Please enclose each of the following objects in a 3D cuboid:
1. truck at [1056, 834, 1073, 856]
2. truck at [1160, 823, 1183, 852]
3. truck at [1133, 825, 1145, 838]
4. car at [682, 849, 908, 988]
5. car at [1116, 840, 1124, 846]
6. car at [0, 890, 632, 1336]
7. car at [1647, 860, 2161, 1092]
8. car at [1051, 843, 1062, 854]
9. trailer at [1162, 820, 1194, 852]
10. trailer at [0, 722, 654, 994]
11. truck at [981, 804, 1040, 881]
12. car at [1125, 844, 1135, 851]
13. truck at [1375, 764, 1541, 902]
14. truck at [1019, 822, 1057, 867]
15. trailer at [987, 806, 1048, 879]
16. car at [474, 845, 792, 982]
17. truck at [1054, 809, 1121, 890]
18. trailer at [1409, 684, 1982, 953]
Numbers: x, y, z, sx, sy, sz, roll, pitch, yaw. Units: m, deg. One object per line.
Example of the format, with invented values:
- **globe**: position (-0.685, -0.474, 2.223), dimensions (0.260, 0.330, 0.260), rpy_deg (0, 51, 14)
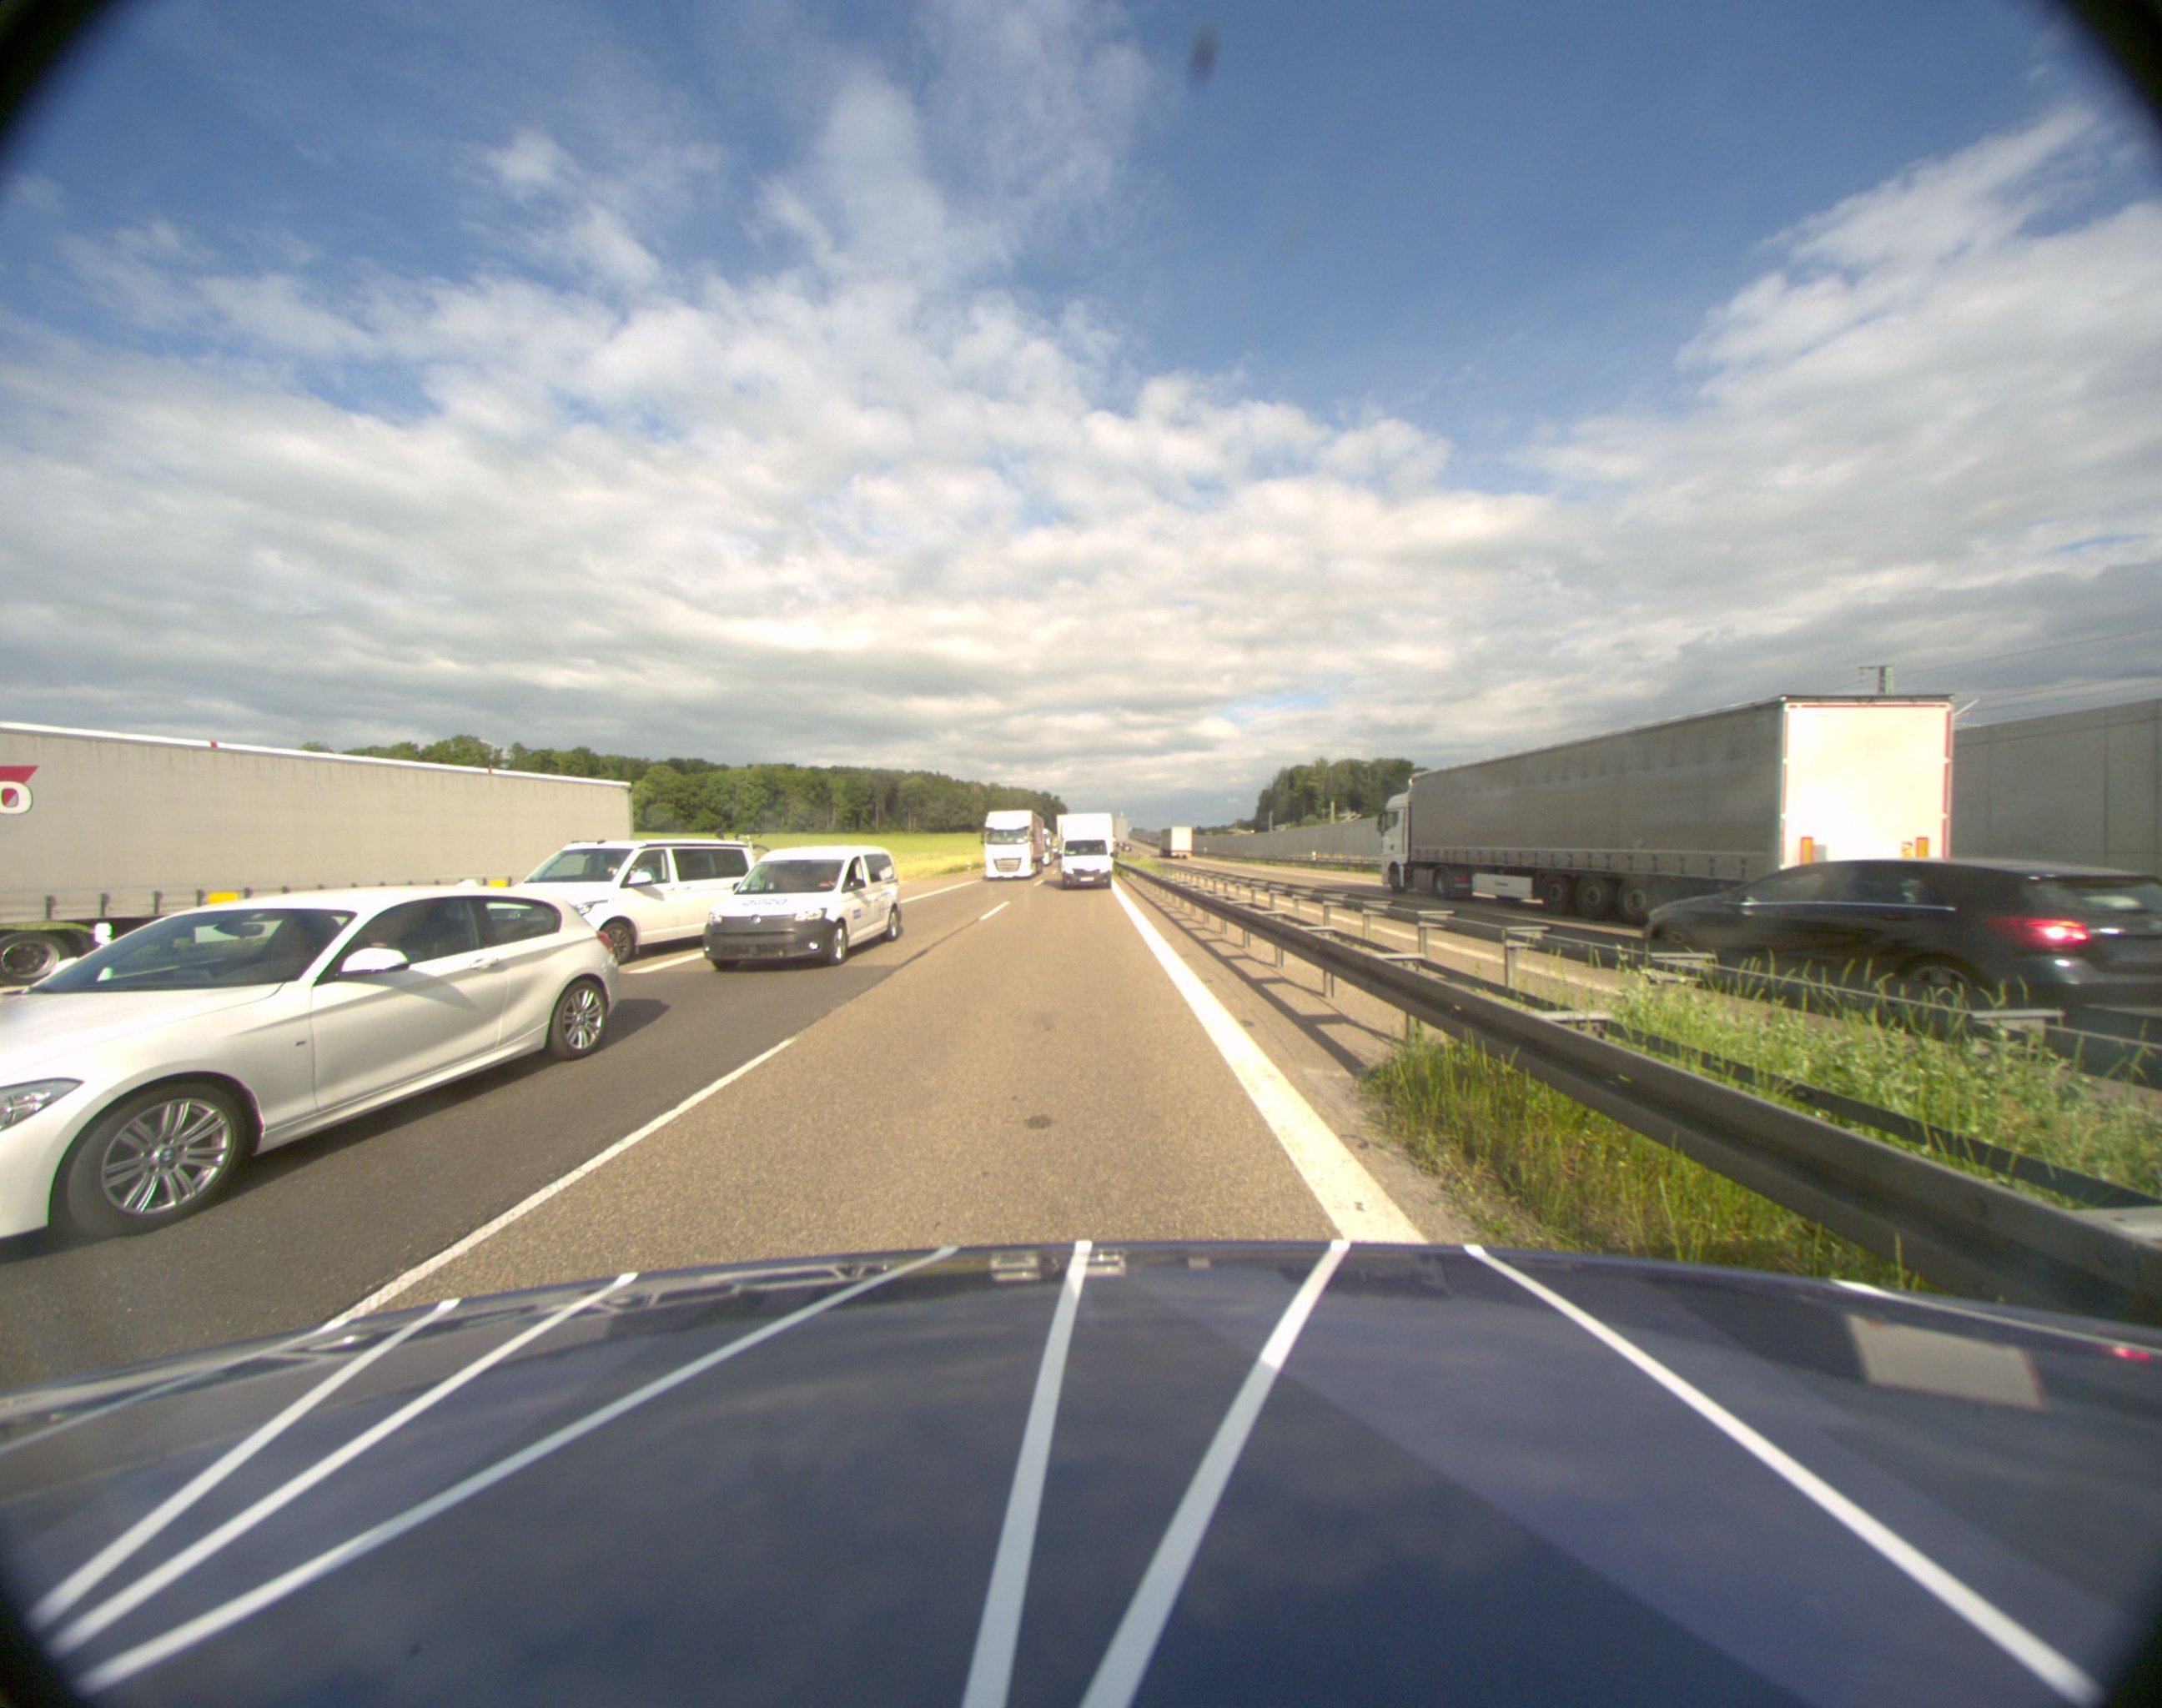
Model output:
- **truck**: position (-3.112, -1.700, 148.530), dimensions (2.946, 4.094, 16.207), rpy_deg (-1, 0, 0)
- **truck**: position (13.116, -2.377, 110.855), dimensions (2.692, 4.045, 5.878), rpy_deg (-1, 1, 1)
- **truck**: position (19.748, -7.594, 260.860), dimensions (2.952, 4.037, 11.745), rpy_deg (-2, 1, 0)
- **car**: position (-4.278, 0.827, 12.301), dimensions (1.729, 1.746, 4.702), rpy_deg (-2, 0, 1)
- **car**: position (9.738, -2.720, 188.134), dimensions (1.720, 1.586, 4.449), rpy_deg (-1, 1, 1)
- **car**: position (-4.805, 1.064, 4.481), dimensions (1.708, 1.424, 4.232), rpy_deg (-2, 0, 1)
- **car**: position (7.572, 0.830, 7.032), dimensions (1.656, 1.443, 3.955), rpy_deg (-1, 1, -1)
- **car**: position (-4.171, -0.942, 130.134), dimensions (1.707, 1.746, 4.676), rpy_deg (-2, 0, 1)
- **trailer**: position (13.094, -2.312, 103.949), dimensions (2.690, 4.014, 13.790), rpy_deg (-1, 0, 0)
- **trailer**: position (-16.376, 0.035, 17.027), dimensions (2.739, 4.136, 13.843), rpy_deg (-2, 0, 16)
- **truck**: position (-4.038, -0.705, 44.639), dimensions (2.736, 4.150, 5.766), rpy_deg (-2, 1, 0)
- **car**: position (9.625, -1.214, 148.445), dimensions (1.637, 1.393, 3.896), rpy_deg (-1, 0, 0)
- **truck**: position (12.248, -0.629, 25.305), dimensions (2.783, 4.064, 5.531), rpy_deg (1, 1, 0)
- **truck**: position (-4.194, -0.893, 76.793), dimensions (2.946, 4.094, 12.523), rpy_deg (-1, 0, 0)
- **trailer**: position (-3.990, -0.827, 51.233), dimensions (2.742, 4.137, 14.016), rpy_deg (-2, 1, 0)
- **car**: position (-7.486, 0.842, 13.581), dimensions (1.798, 1.914, 5.270), rpy_deg (-2, 0, 10)
- **truck**: position (0.290, -0.217, 35.726), dimensions (2.500, 3.082, 12.037), rpy_deg (-2, 0, 0)
- **trailer**: position (12.222, -0.582, 18.272), dimensions (2.797, 4.054, 13.518), rpy_deg (0, 1, 0)
